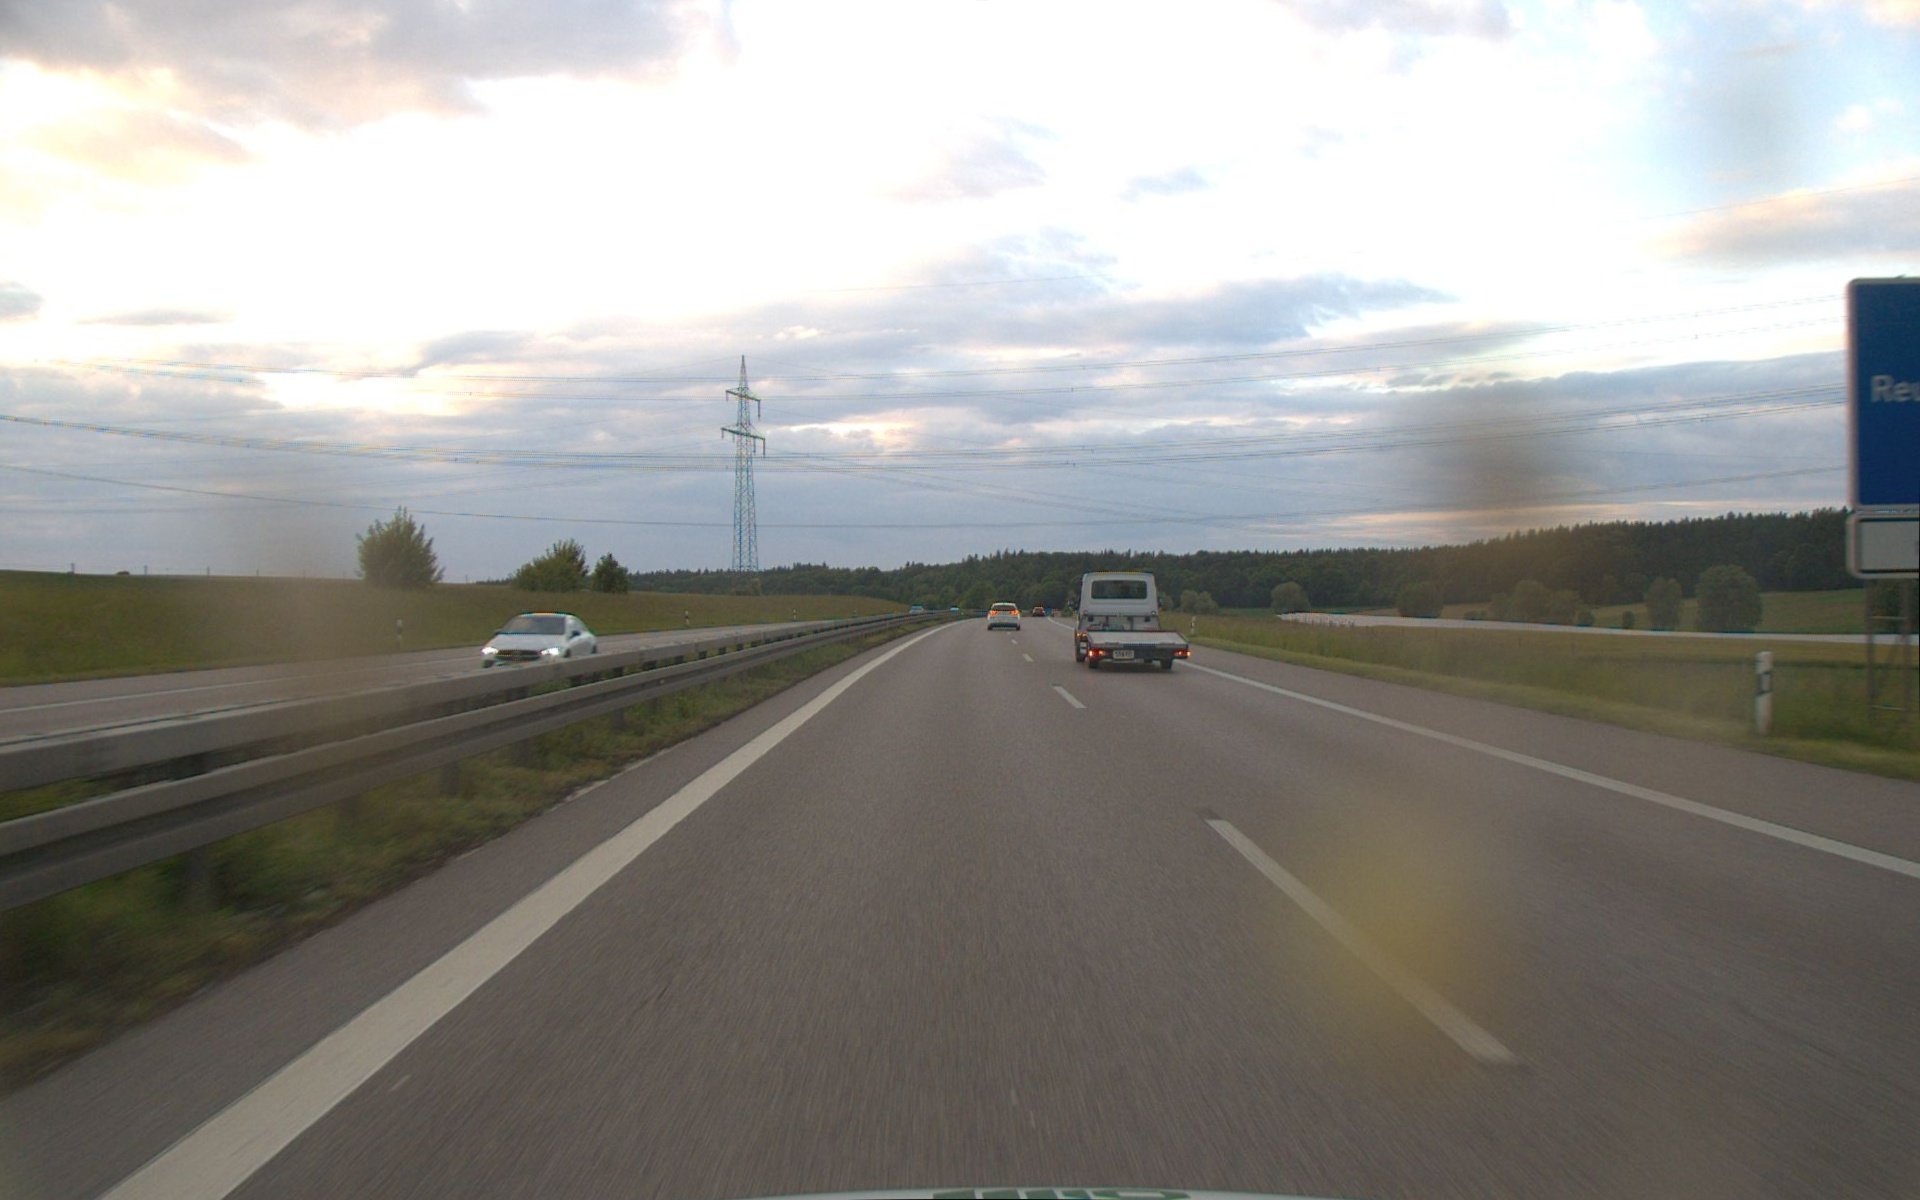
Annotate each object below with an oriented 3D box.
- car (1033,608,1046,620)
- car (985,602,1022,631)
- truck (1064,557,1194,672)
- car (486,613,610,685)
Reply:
[{"bbox_3d":[11.905,2.049,247.773,1.911,1.762,4.081,1,0,2],"label":"car"},{"bbox_3d":[2.368,0.886,89.988,1.911,1.558,4.081,1,0,2],"label":"car"},{"bbox_3d":[3.833,0.323,38.949,2.127,2.401,7.694,1,0,-1],"label":"truck"},{"bbox_3d":[-9.463,1.092,38.356,1.693,1.512,4.930,1,0,-1],"label":"car"}]
